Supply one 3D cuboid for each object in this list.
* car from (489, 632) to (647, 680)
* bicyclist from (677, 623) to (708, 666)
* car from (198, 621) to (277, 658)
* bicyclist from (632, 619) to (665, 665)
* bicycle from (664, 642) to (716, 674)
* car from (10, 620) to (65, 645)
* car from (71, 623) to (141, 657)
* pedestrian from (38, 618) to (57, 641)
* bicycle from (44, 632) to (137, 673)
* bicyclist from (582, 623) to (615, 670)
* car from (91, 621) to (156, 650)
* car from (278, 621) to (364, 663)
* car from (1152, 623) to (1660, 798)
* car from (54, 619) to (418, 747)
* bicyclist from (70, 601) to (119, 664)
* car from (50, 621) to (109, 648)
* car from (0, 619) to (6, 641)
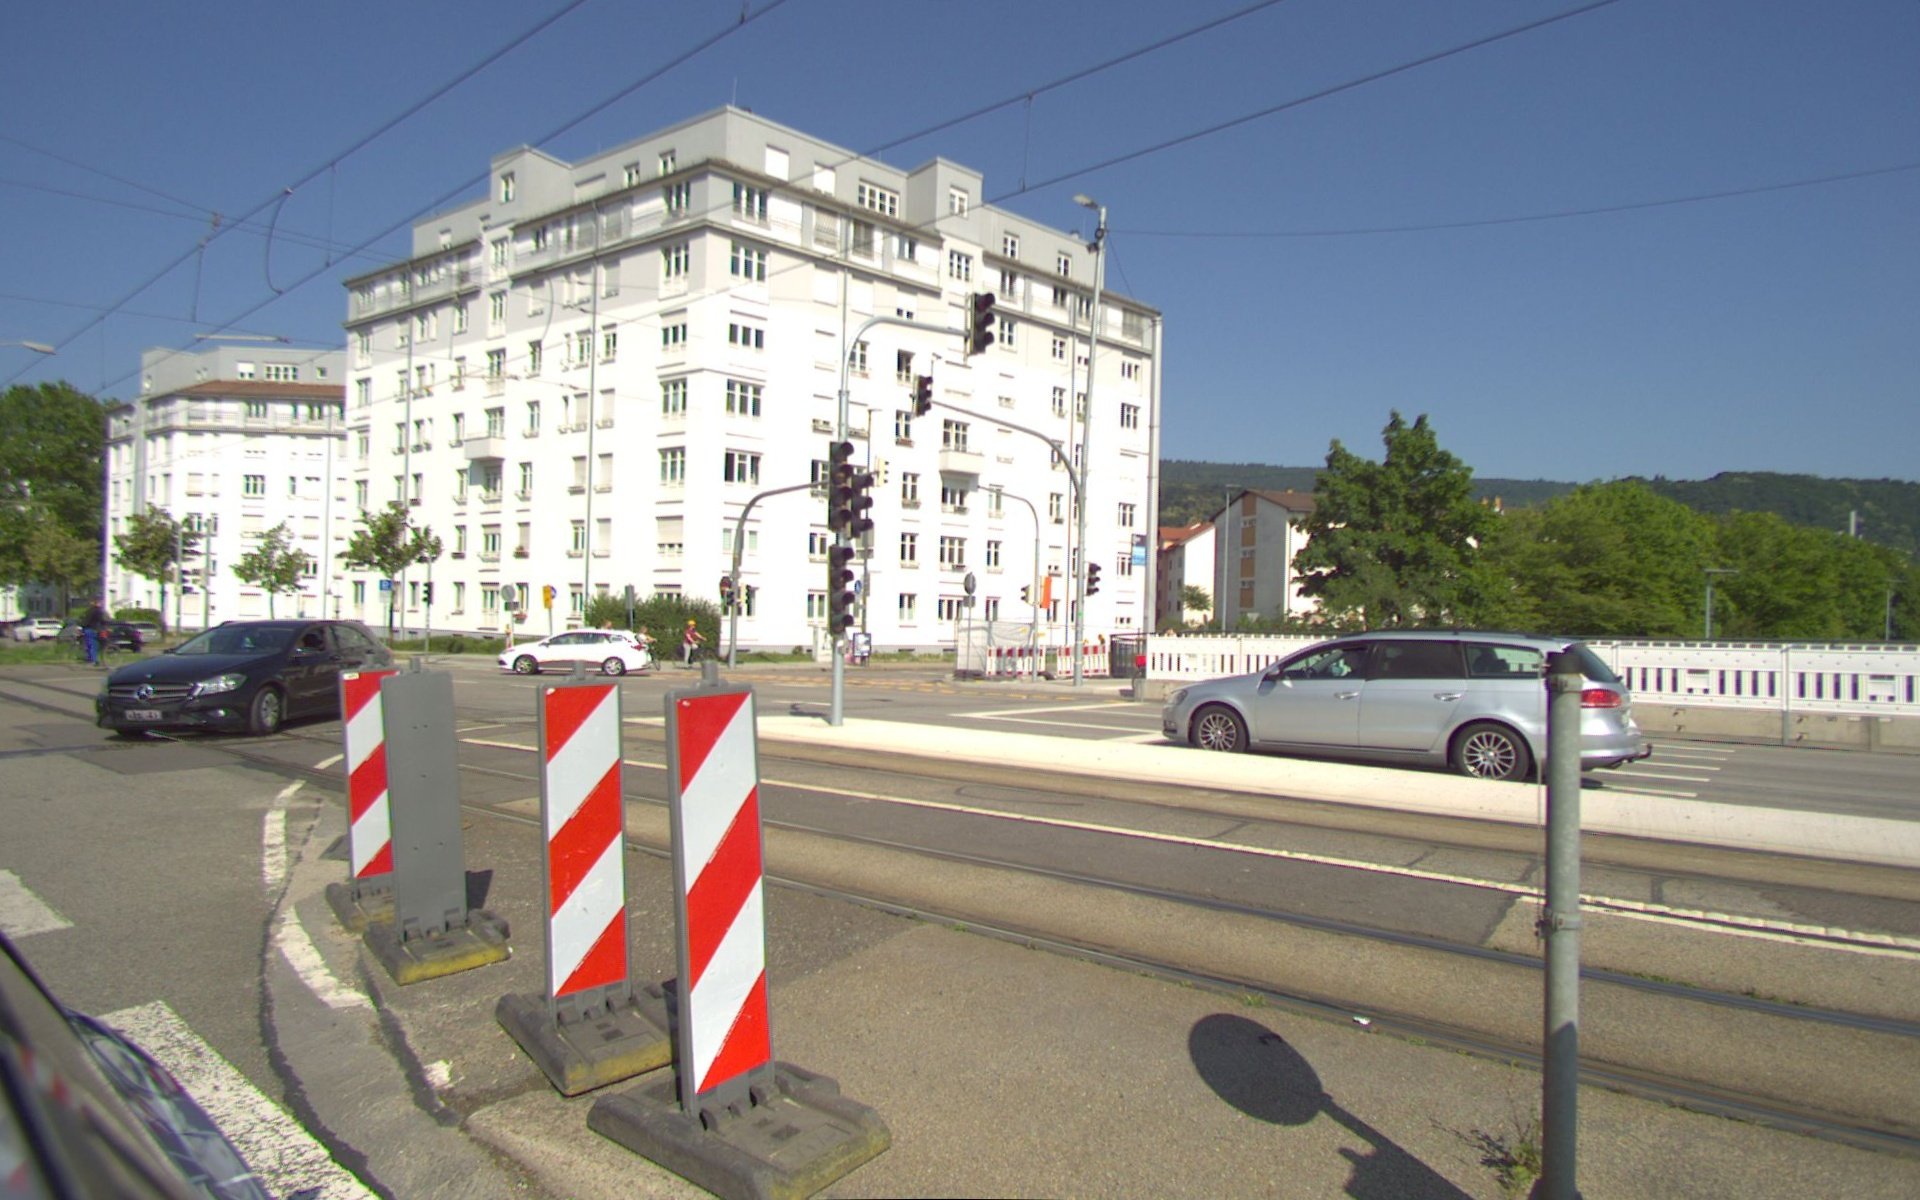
[{"bbox_3d":[-12.203,1.731,31.776,4.411,1.423,1.707,1,-2,-14],"label":"car"},{"bbox_3d":[-9.569,1.588,36.191,0.912,1.489,0.593,0,-2,24],"label":"bicyclist"},{"bbox_3d":[-33.899,1.812,47.482,3.728,1.650,1.721,0,-1,32],"label":"car"},{"bbox_3d":[-10.948,1.469,35.556,0.913,1.591,0.618,0,-1,25],"label":"bicyclist"},{"bbox_3d":[-9.673,2.059,36.224,1.803,1.108,0.600,0,-2,24],"label":"bicycle"},{"bbox_3d":[-57.350,1.992,62.930,3.731,1.496,1.720,-1,-1,34],"label":"car"},{"bbox_3d":[-39.993,1.862,47.363,3.654,1.504,1.575,-1,-3,35],"label":"car"},{"bbox_3d":[-67.937,2.204,75.351,0.909,1.678,0.847,-1,-3,39],"label":"pedestrian"},{"bbox_3d":[-23.673,1.415,27.595,1.882,1.028,0.823,-1,-1,-40],"label":"bicycle"},{"bbox_3d":[-12.765,1.620,35.703,0.913,1.602,0.618,1,-1,26],"label":"bicyclist"},{"bbox_3d":[-44.739,1.888,54.120,3.731,1.496,1.720,-1,-1,34],"label":"car"},{"bbox_3d":[-27.034,1.737,42.781,3.731,1.650,1.720,-1,-1,34],"label":"car"},{"bbox_3d":[4.482,1.007,10.653,4.638,1.448,1.621,-1,-3,39],"label":"car"},{"bbox_3d":[-9.395,0.985,13.718,1.679,1.419,4.623,1,-1,-1],"label":"car"},{"bbox_3d":[-23.644,0.891,27.651,0.993,1.666,0.810,0,-2,-40],"label":"bicyclist"},{"bbox_3d":[-51.286,1.983,58.940,3.731,1.496,1.720,-1,-1,34],"label":"car"},{"bbox_3d":[-67.861,2.094,70.208,3.731,1.496,1.720,-1,-1,34],"label":"car"}]
